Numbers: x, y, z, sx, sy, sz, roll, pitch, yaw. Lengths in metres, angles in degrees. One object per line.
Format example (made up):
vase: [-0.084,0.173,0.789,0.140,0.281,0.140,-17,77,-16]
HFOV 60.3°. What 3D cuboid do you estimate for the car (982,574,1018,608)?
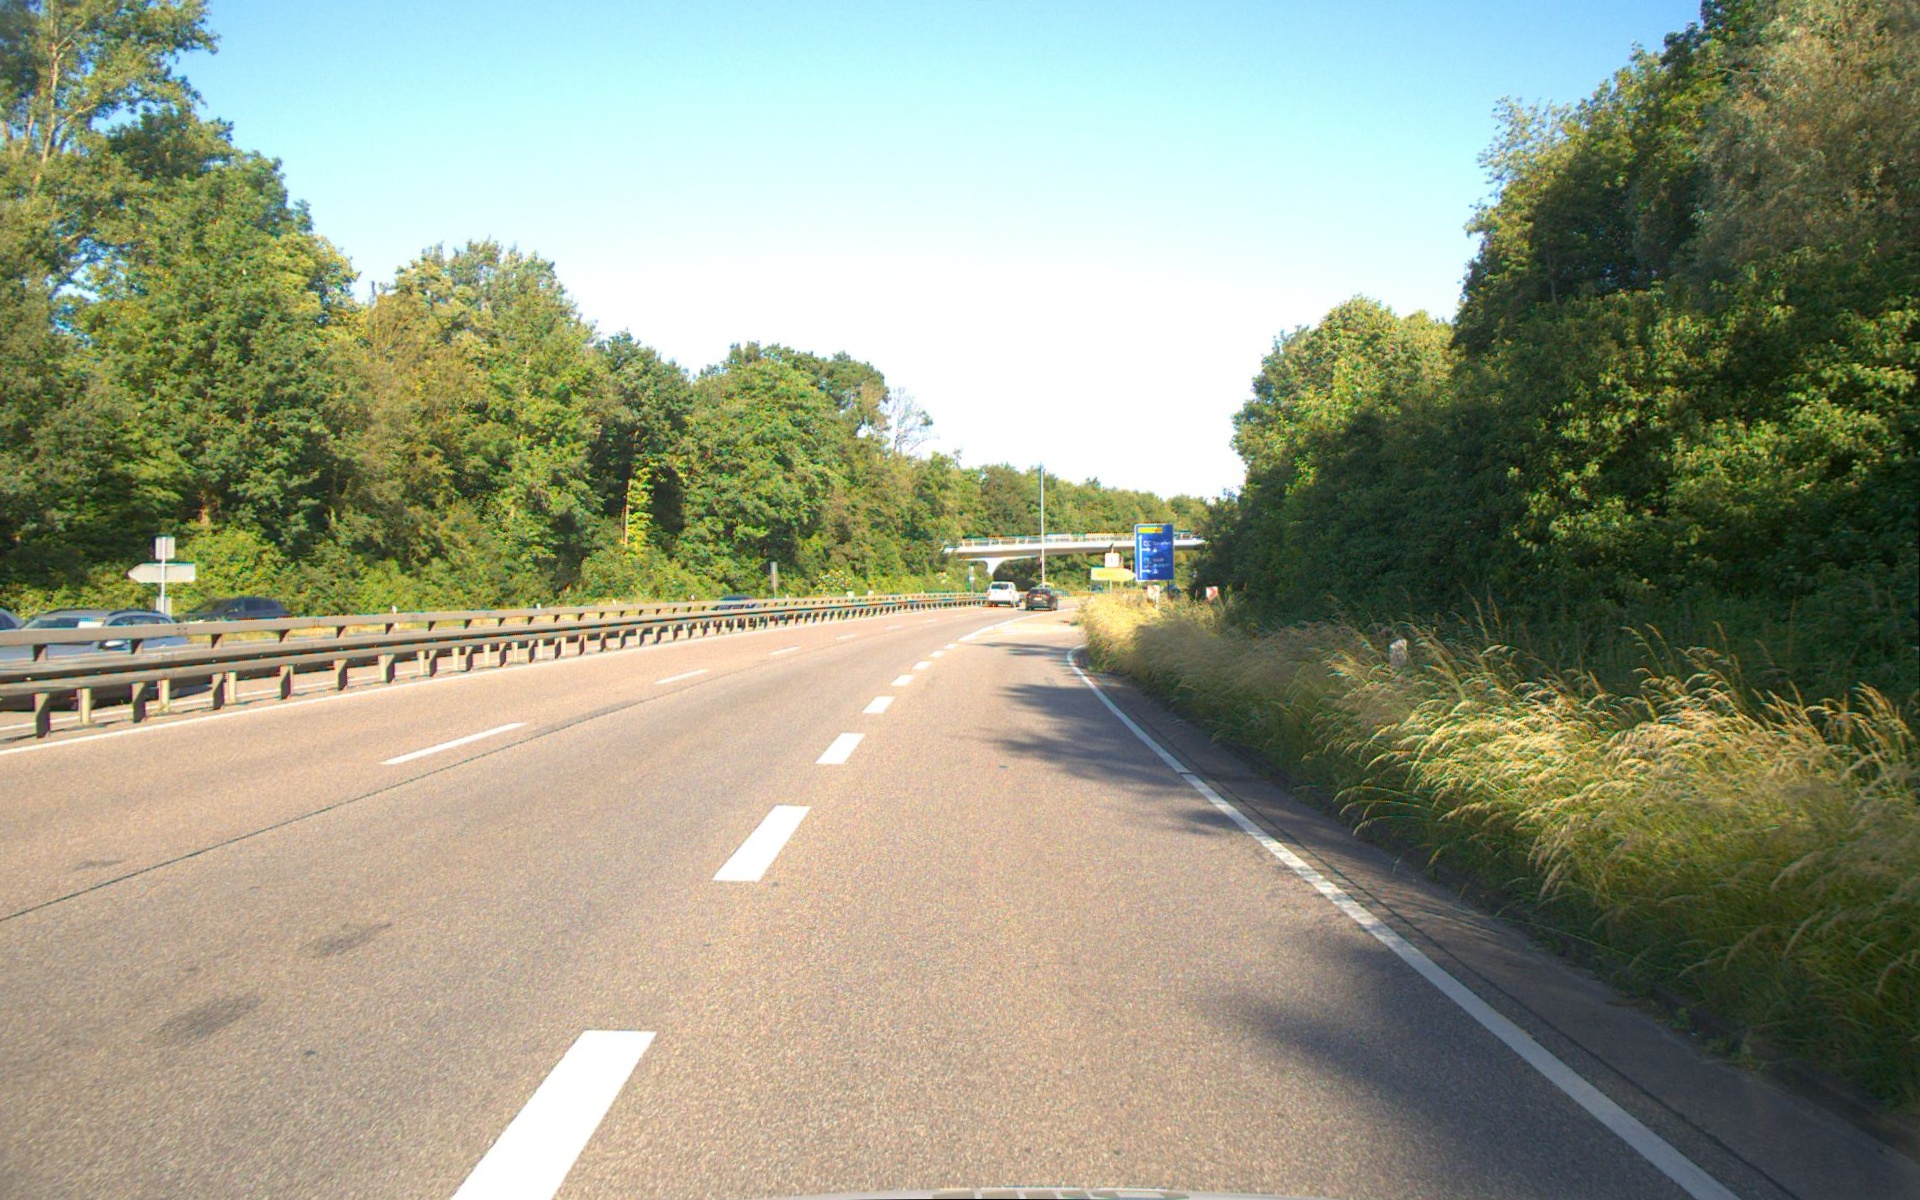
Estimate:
car: [2.844,-0.646,117.721,1.951,2.317,4.004,0,0,10]

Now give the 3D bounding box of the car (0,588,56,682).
car: [-18.210,0.634,29.249,1.952,1.678,4.423,0,0,1]

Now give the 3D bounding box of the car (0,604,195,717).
car: [-13.843,0.853,25.514,1.952,1.539,4.423,1,0,1]

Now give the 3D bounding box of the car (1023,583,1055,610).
car: [5.137,-0.233,107.233,1.702,1.691,3.949,0,0,8]
